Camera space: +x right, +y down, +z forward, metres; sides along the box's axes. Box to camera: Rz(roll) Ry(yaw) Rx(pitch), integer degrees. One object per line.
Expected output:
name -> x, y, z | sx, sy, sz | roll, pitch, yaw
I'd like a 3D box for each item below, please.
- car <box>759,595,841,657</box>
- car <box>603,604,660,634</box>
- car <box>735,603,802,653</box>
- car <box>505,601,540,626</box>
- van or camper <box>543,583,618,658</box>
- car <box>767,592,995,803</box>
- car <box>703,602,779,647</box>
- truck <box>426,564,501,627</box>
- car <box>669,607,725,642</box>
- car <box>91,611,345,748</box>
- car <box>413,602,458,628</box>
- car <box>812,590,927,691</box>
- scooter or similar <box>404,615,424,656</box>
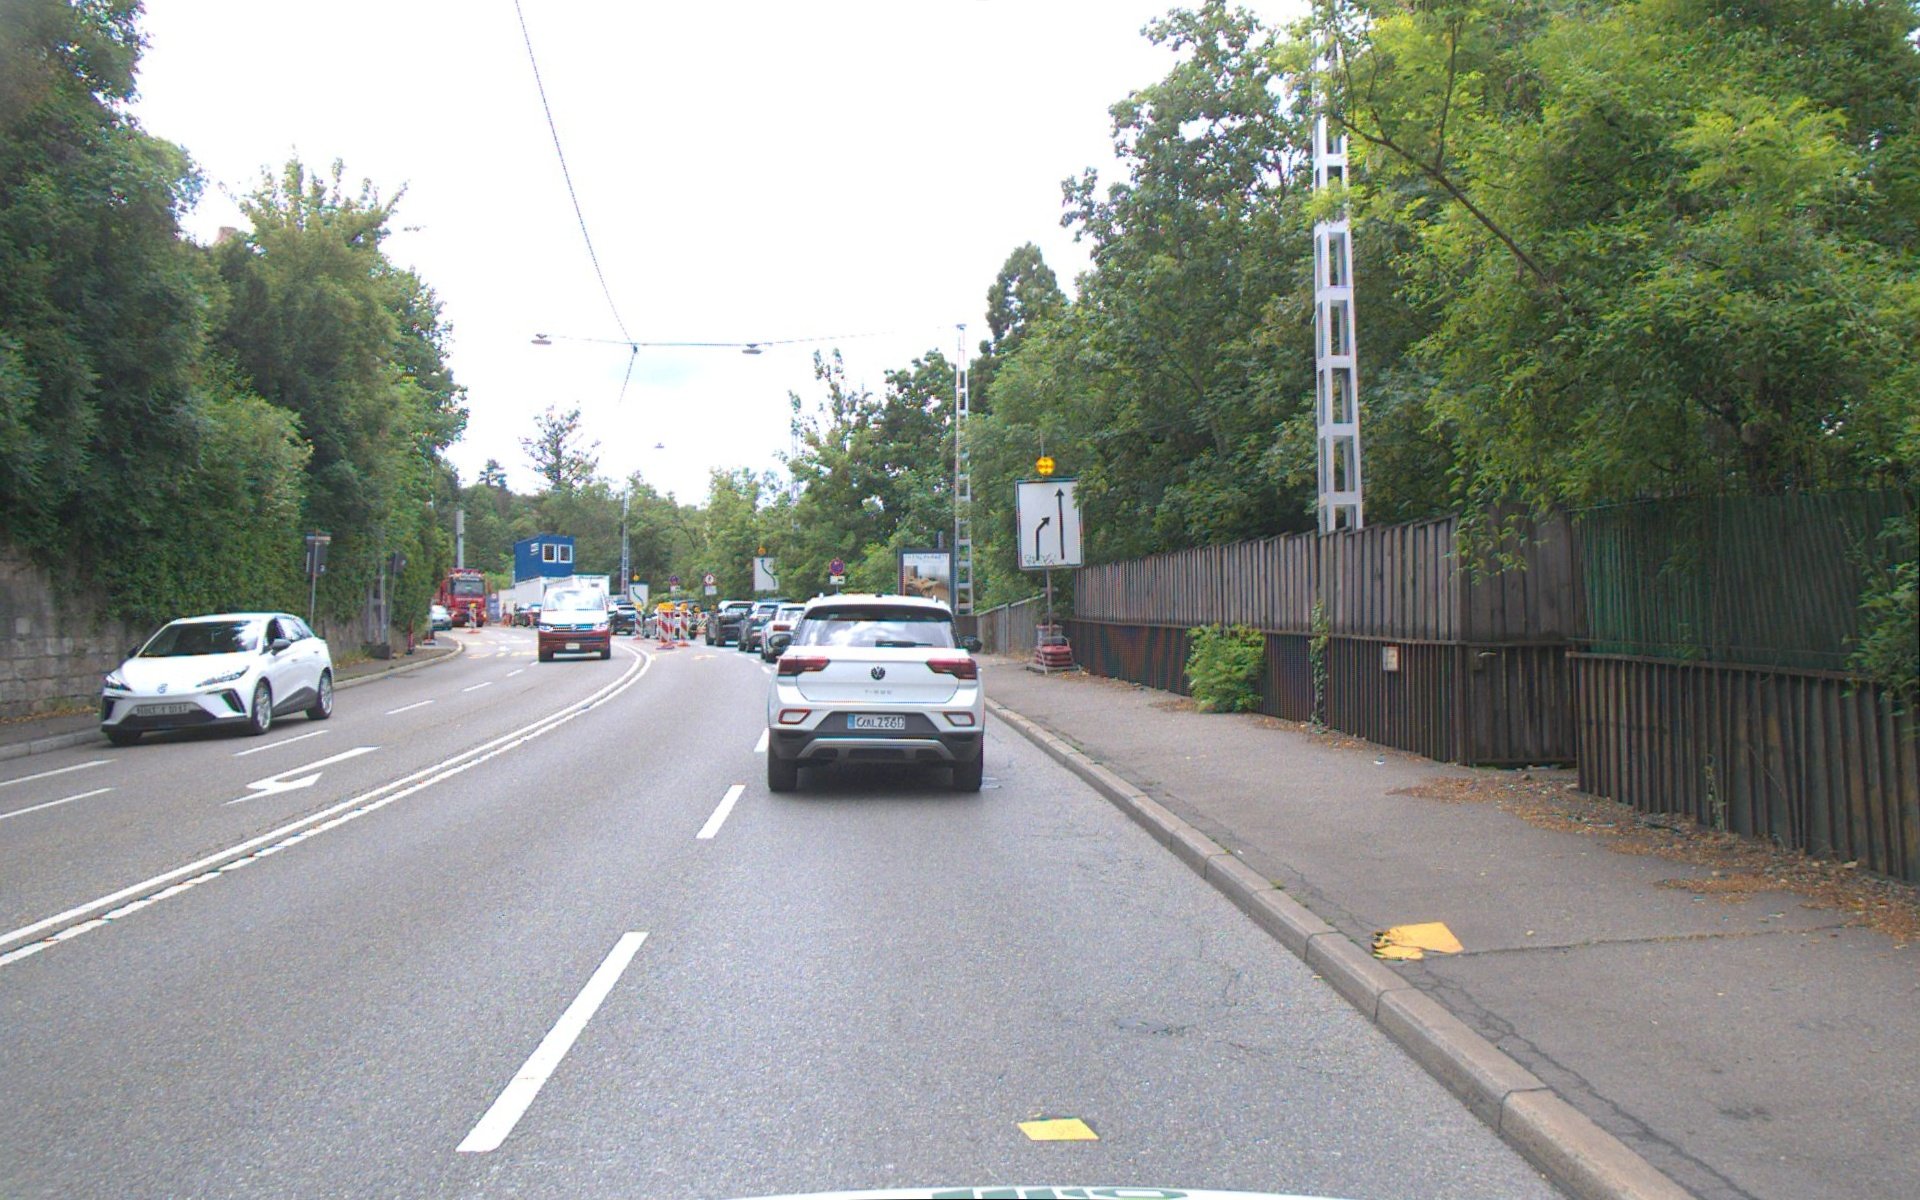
car -> -4.111, 0.644, 42.040 | 1.726, 1.497, 3.785 | 0, 0, -11
car -> -16.772, 0.988, 84.245 | 1.968, 1.475, 4.119 | -1, -1, -24
car -> -5.981, 0.880, 52.065 | 1.955, 1.439, 4.146 | -2, -1, -5
car -> -27.111, 0.860, 102.491 | 1.754, 1.480, 3.976 | -1, 0, -20
van or camper -> -10.395, 0.557, 45.559 | 1.856, 1.911, 4.751 | -2, 0, -12
car -> -0.708, 0.745, 14.403 | 1.723, 1.583, 3.792 | 0, 0, -4
car -> -8.192, 0.874, 61.635 | 1.964, 1.583, 4.126 | -1, 0, -20
truck -> -31.768, -0.234, 105.496 | 2.910, 3.762, 9.833 | -1, 0, -26
car -> -11.983, 1.116, 75.143 | 1.962, 1.475, 4.130 | -1, -1, -17
car -> -9.461, 0.944, 21.451 | 1.748, 1.492, 4.095 | -3, 0, -6
car -> -29.926, 0.838, 94.342 | 1.872, 1.406, 3.967 | -2, 0, -26
car -> -1.637, 0.667, 28.853 | 1.724, 1.638, 3.789 | 0, 0, -7
scooter or similar -> -16.653, 1.069, 50.462 | 0.529, 1.226, 1.273 | 2, -1, -17
